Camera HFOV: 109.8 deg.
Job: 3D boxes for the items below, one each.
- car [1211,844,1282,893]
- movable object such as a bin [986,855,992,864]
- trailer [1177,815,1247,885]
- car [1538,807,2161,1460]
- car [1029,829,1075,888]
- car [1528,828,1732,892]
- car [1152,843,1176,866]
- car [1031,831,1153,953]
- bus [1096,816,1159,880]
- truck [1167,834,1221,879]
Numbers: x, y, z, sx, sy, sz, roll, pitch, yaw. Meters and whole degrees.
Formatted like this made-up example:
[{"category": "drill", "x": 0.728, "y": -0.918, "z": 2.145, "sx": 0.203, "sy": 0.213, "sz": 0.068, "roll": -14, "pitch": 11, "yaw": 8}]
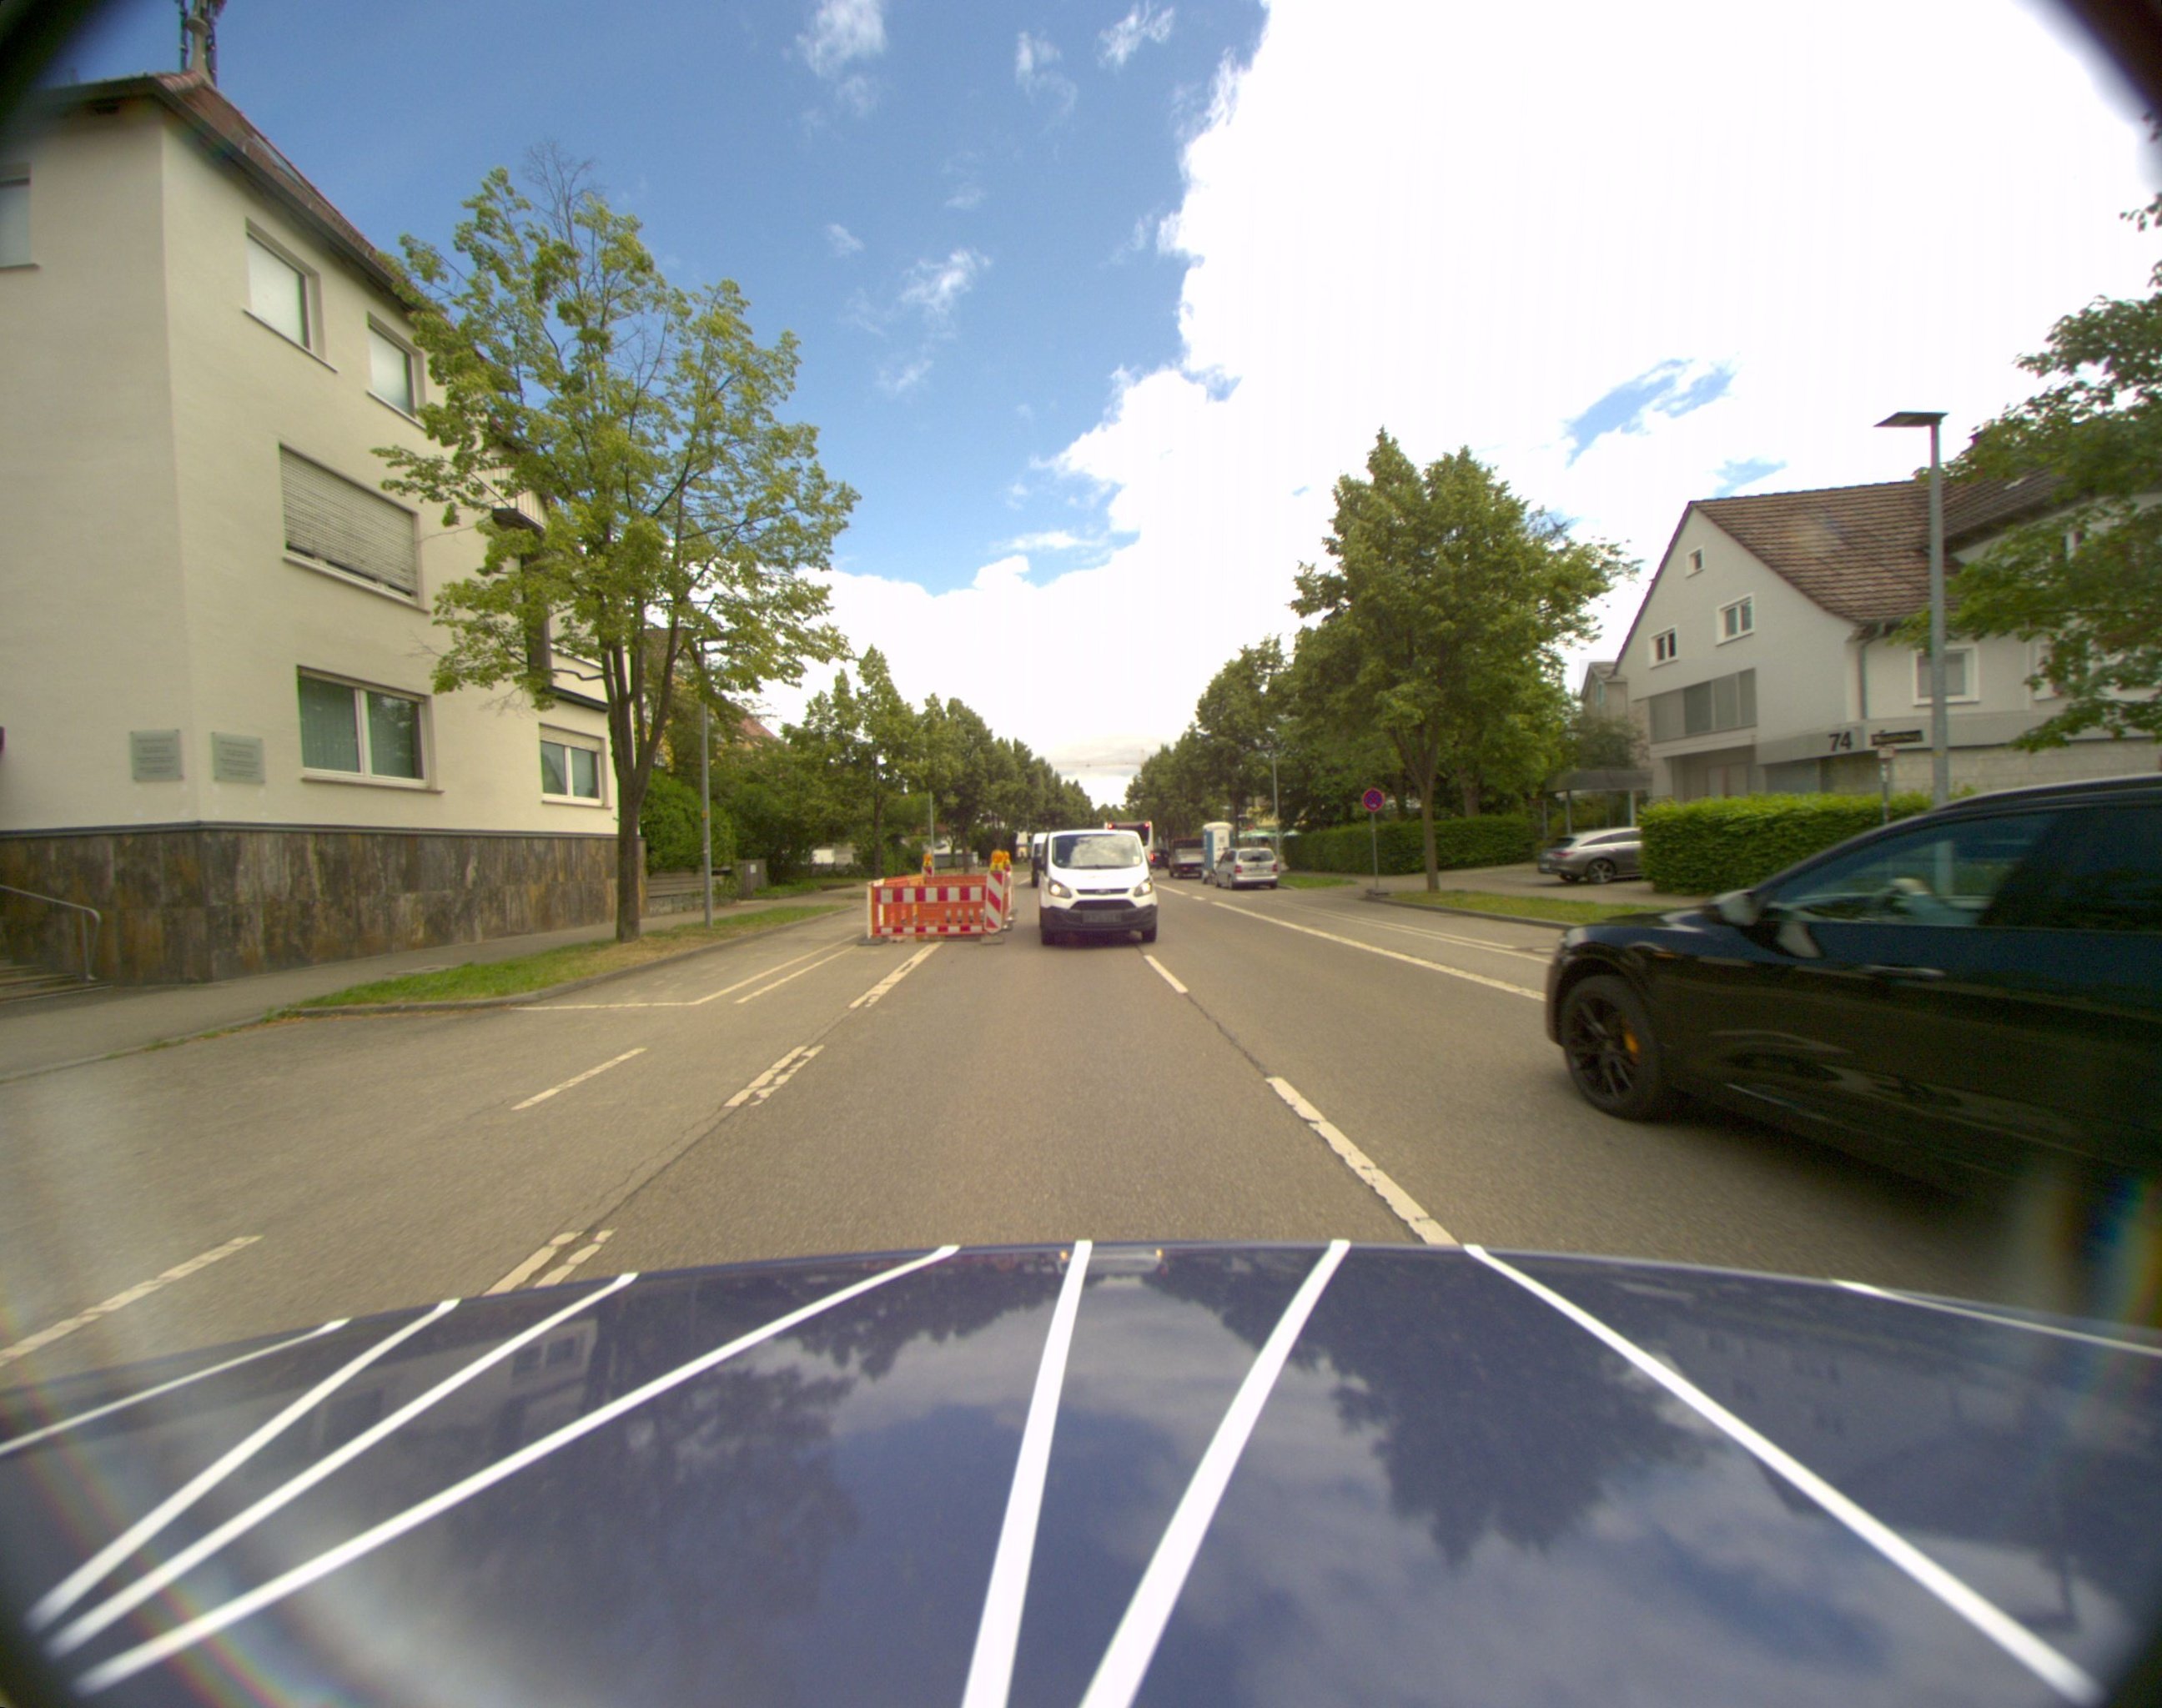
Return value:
[{"category": "car", "x": 6.368, "y": 0.505, "z": 29.642, "sx": 1.693, "sy": 1.674, "sz": 4.224, "roll": -2, "pitch": 1, "yaw": -1}, {"category": "movable object such as a bin", "x": -10.877, "y": 0.695, "z": 89.684, "sx": 0.499, "sy": 1.038, "sz": 0.520, "roll": -2, "pitch": 1, "yaw": 16}, {"category": "trailer", "x": 6.070, "y": -0.192, "z": 36.180, "sx": 2.378, "sy": 2.946, "sz": 7.011, "roll": -2, "pitch": 0, "yaw": 2}, {"category": "car", "x": 3.734, "y": 0.701, "z": 2.195, "sx": 1.999, "sy": 1.658, "sz": 4.588, "roll": 0, "pitch": 0, "yaw": -1}, {"category": "car", "x": -1.323, "y": 0.211, "z": 36.420, "sx": 1.999, "sy": 2.584, "sz": 3.999, "roll": -3, "pitch": 0, "yaw": 0}, {"category": "car", "x": 14.750, "y": 0.159, "z": 20.606, "sx": 4.088, "sy": 1.424, "sz": 1.801, "roll": -3, "pitch": 0, "yaw": 6}, {"category": "car", "x": 7.134, "y": 0.033, "z": 65.317, "sx": 1.711, "sy": 1.863, "sz": 4.398, "roll": -2, "pitch": 1, "yaw": 3}, {"category": "car", "x": 0.145, "y": 0.628, "z": 15.588, "sx": 1.999, "sy": 2.002, "sz": 5.317, "roll": -2, "pitch": 0, "yaw": -1}, {"category": "bus", "x": 2.566, "y": -0.458, "z": 48.223, "sx": 2.812, "sy": 3.269, "sz": 18.040, "roll": -1, "pitch": 1, "yaw": 0}, {"category": "truck", "x": 6.274, "y": 0.120, "z": 42.910, "sx": 2.300, "sy": 2.274, "sz": 6.463, "roll": -2, "pitch": 0, "yaw": 2}]
